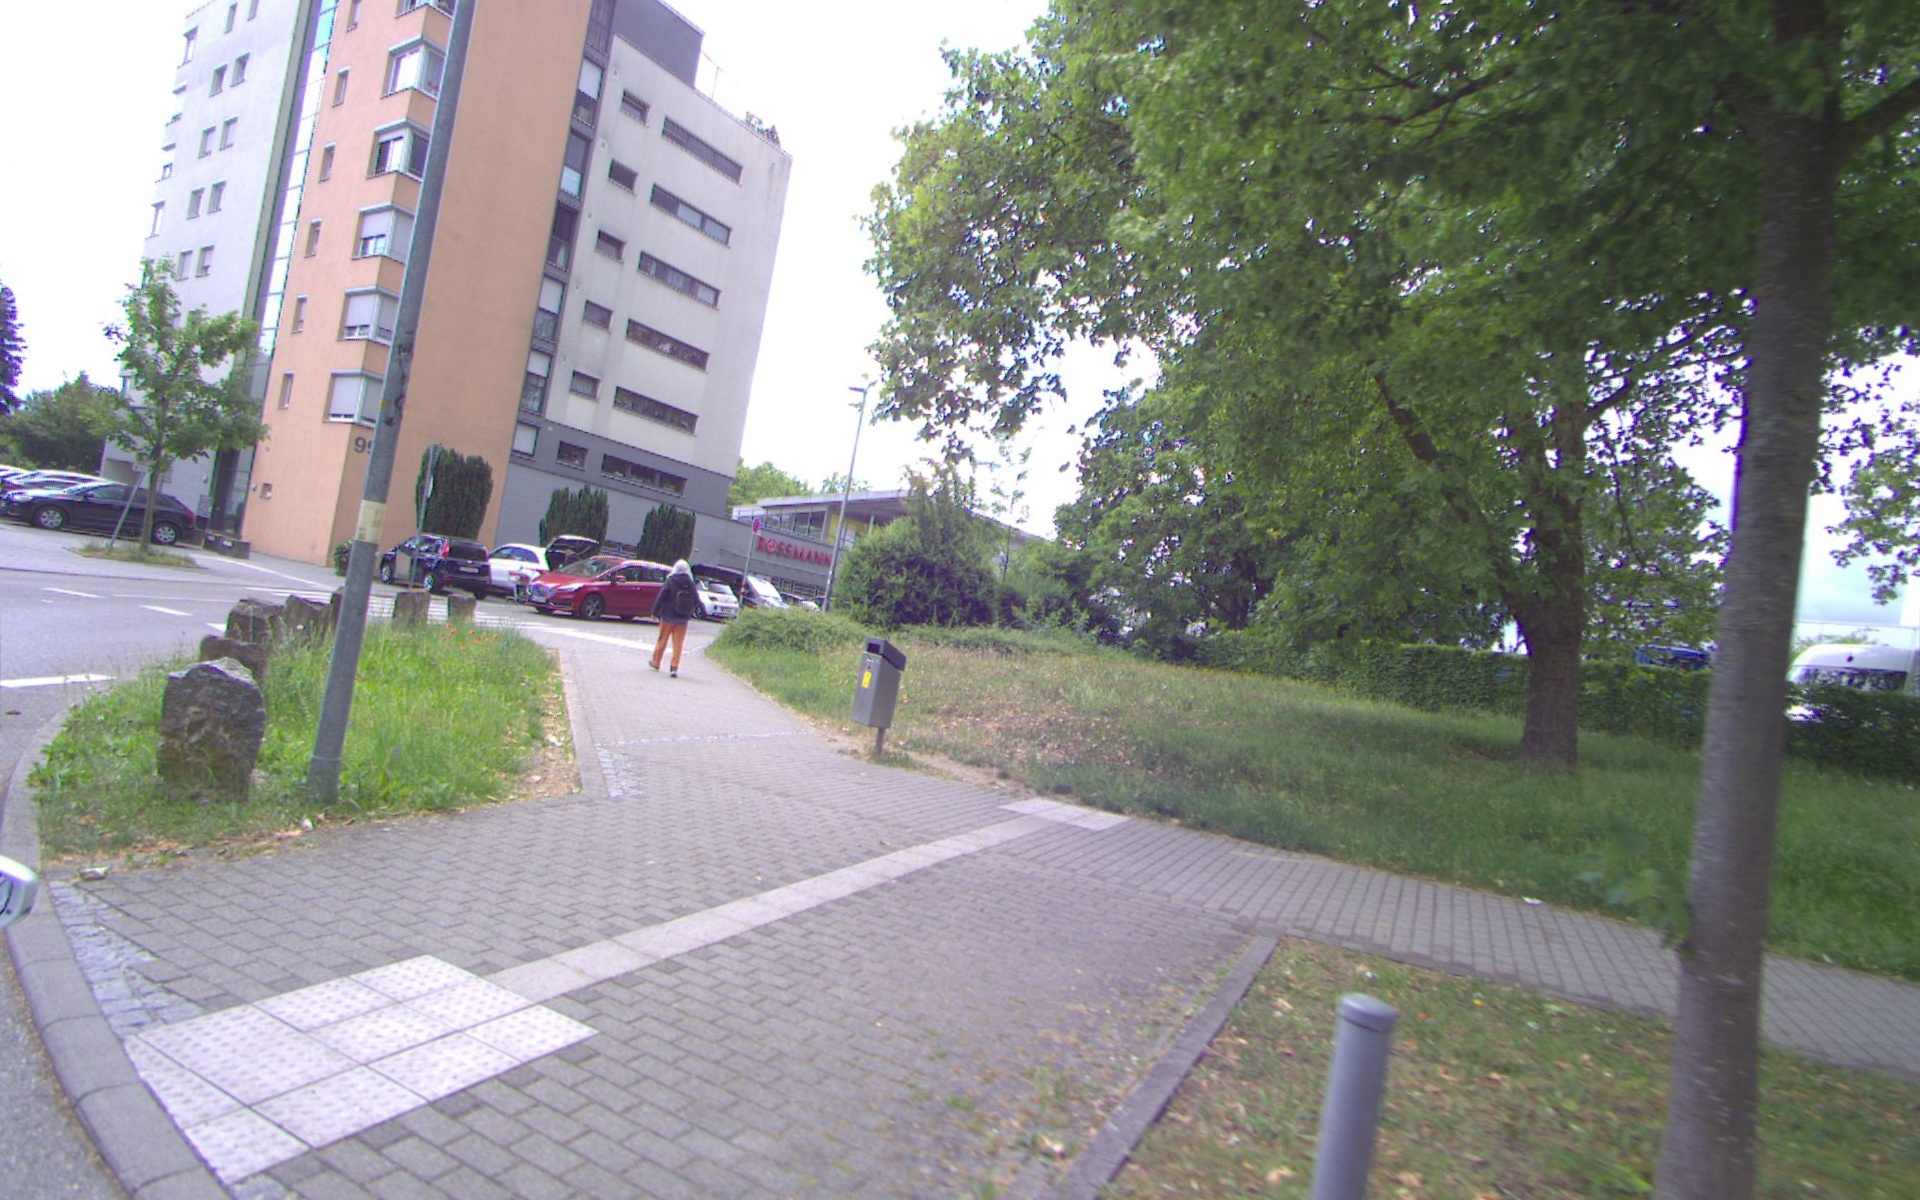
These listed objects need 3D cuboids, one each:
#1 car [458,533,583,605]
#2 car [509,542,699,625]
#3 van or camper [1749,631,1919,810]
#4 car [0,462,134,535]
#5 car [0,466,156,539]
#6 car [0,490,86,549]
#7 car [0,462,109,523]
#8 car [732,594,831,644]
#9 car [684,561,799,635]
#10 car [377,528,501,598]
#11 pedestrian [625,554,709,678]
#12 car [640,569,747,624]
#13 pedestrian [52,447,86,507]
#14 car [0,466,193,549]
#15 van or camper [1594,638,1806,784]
[{"bbox_3d":[-13.081,-0.934,29.877,3.718,1.679,1.568,7,0,35],"label":"car"},{"bbox_3d":[-9.286,-0.371,26.643,1.945,1.665,4.531,8,0,26],"label":"car"},{"bbox_3d":[17.282,2.352,18.716,4.427,2.829,2.103,10,-2,-25],"label":"van or camper"},{"bbox_3d":[-28.974,-3.273,31.698,1.664,1.611,4.129,7,-3,32],"label":"car"},{"bbox_3d":[-26.993,-2.941,30.414,1.667,1.475,3.829,7,-3,38],"label":"car"},{"bbox_3d":[-31.420,-2.828,32.822,1.730,1.534,4.043,7,-3,38],"label":"car"},{"bbox_3d":[-32.388,-3.828,34.918,1.732,1.534,3.982,7,-3,40],"label":"car"},{"bbox_3d":[-7.200,0.737,40.441,3.718,1.500,1.637,7,0,35],"label":"car"},{"bbox_3d":[-8.295,-0.094,38.069,3.915,2.185,1.827,7,-2,35],"label":"car"},{"bbox_3d":[-14.313,-1.034,27.581,3.471,1.494,1.500,7,0,36],"label":"car"},{"bbox_3d":[-4.312,0.235,14.795,0.828,1.684,0.613,7,-2,39],"label":"pedestrian"},{"bbox_3d":[-9.654,-0.138,36.320,3.718,1.500,1.637,7,0,35],"label":"car"},{"bbox_3d":[-29.420,-4.061,33.230,0.498,1.874,0.480,8,-1,26],"label":"pedestrian"},{"bbox_3d":[-25.021,-2.644,29.137,1.730,1.534,4.043,7,-3,38],"label":"car"},{"bbox_3d":[18.116,2.712,24.628,4.427,2.829,2.103,10,-2,-25],"label":"van or camper"}]
